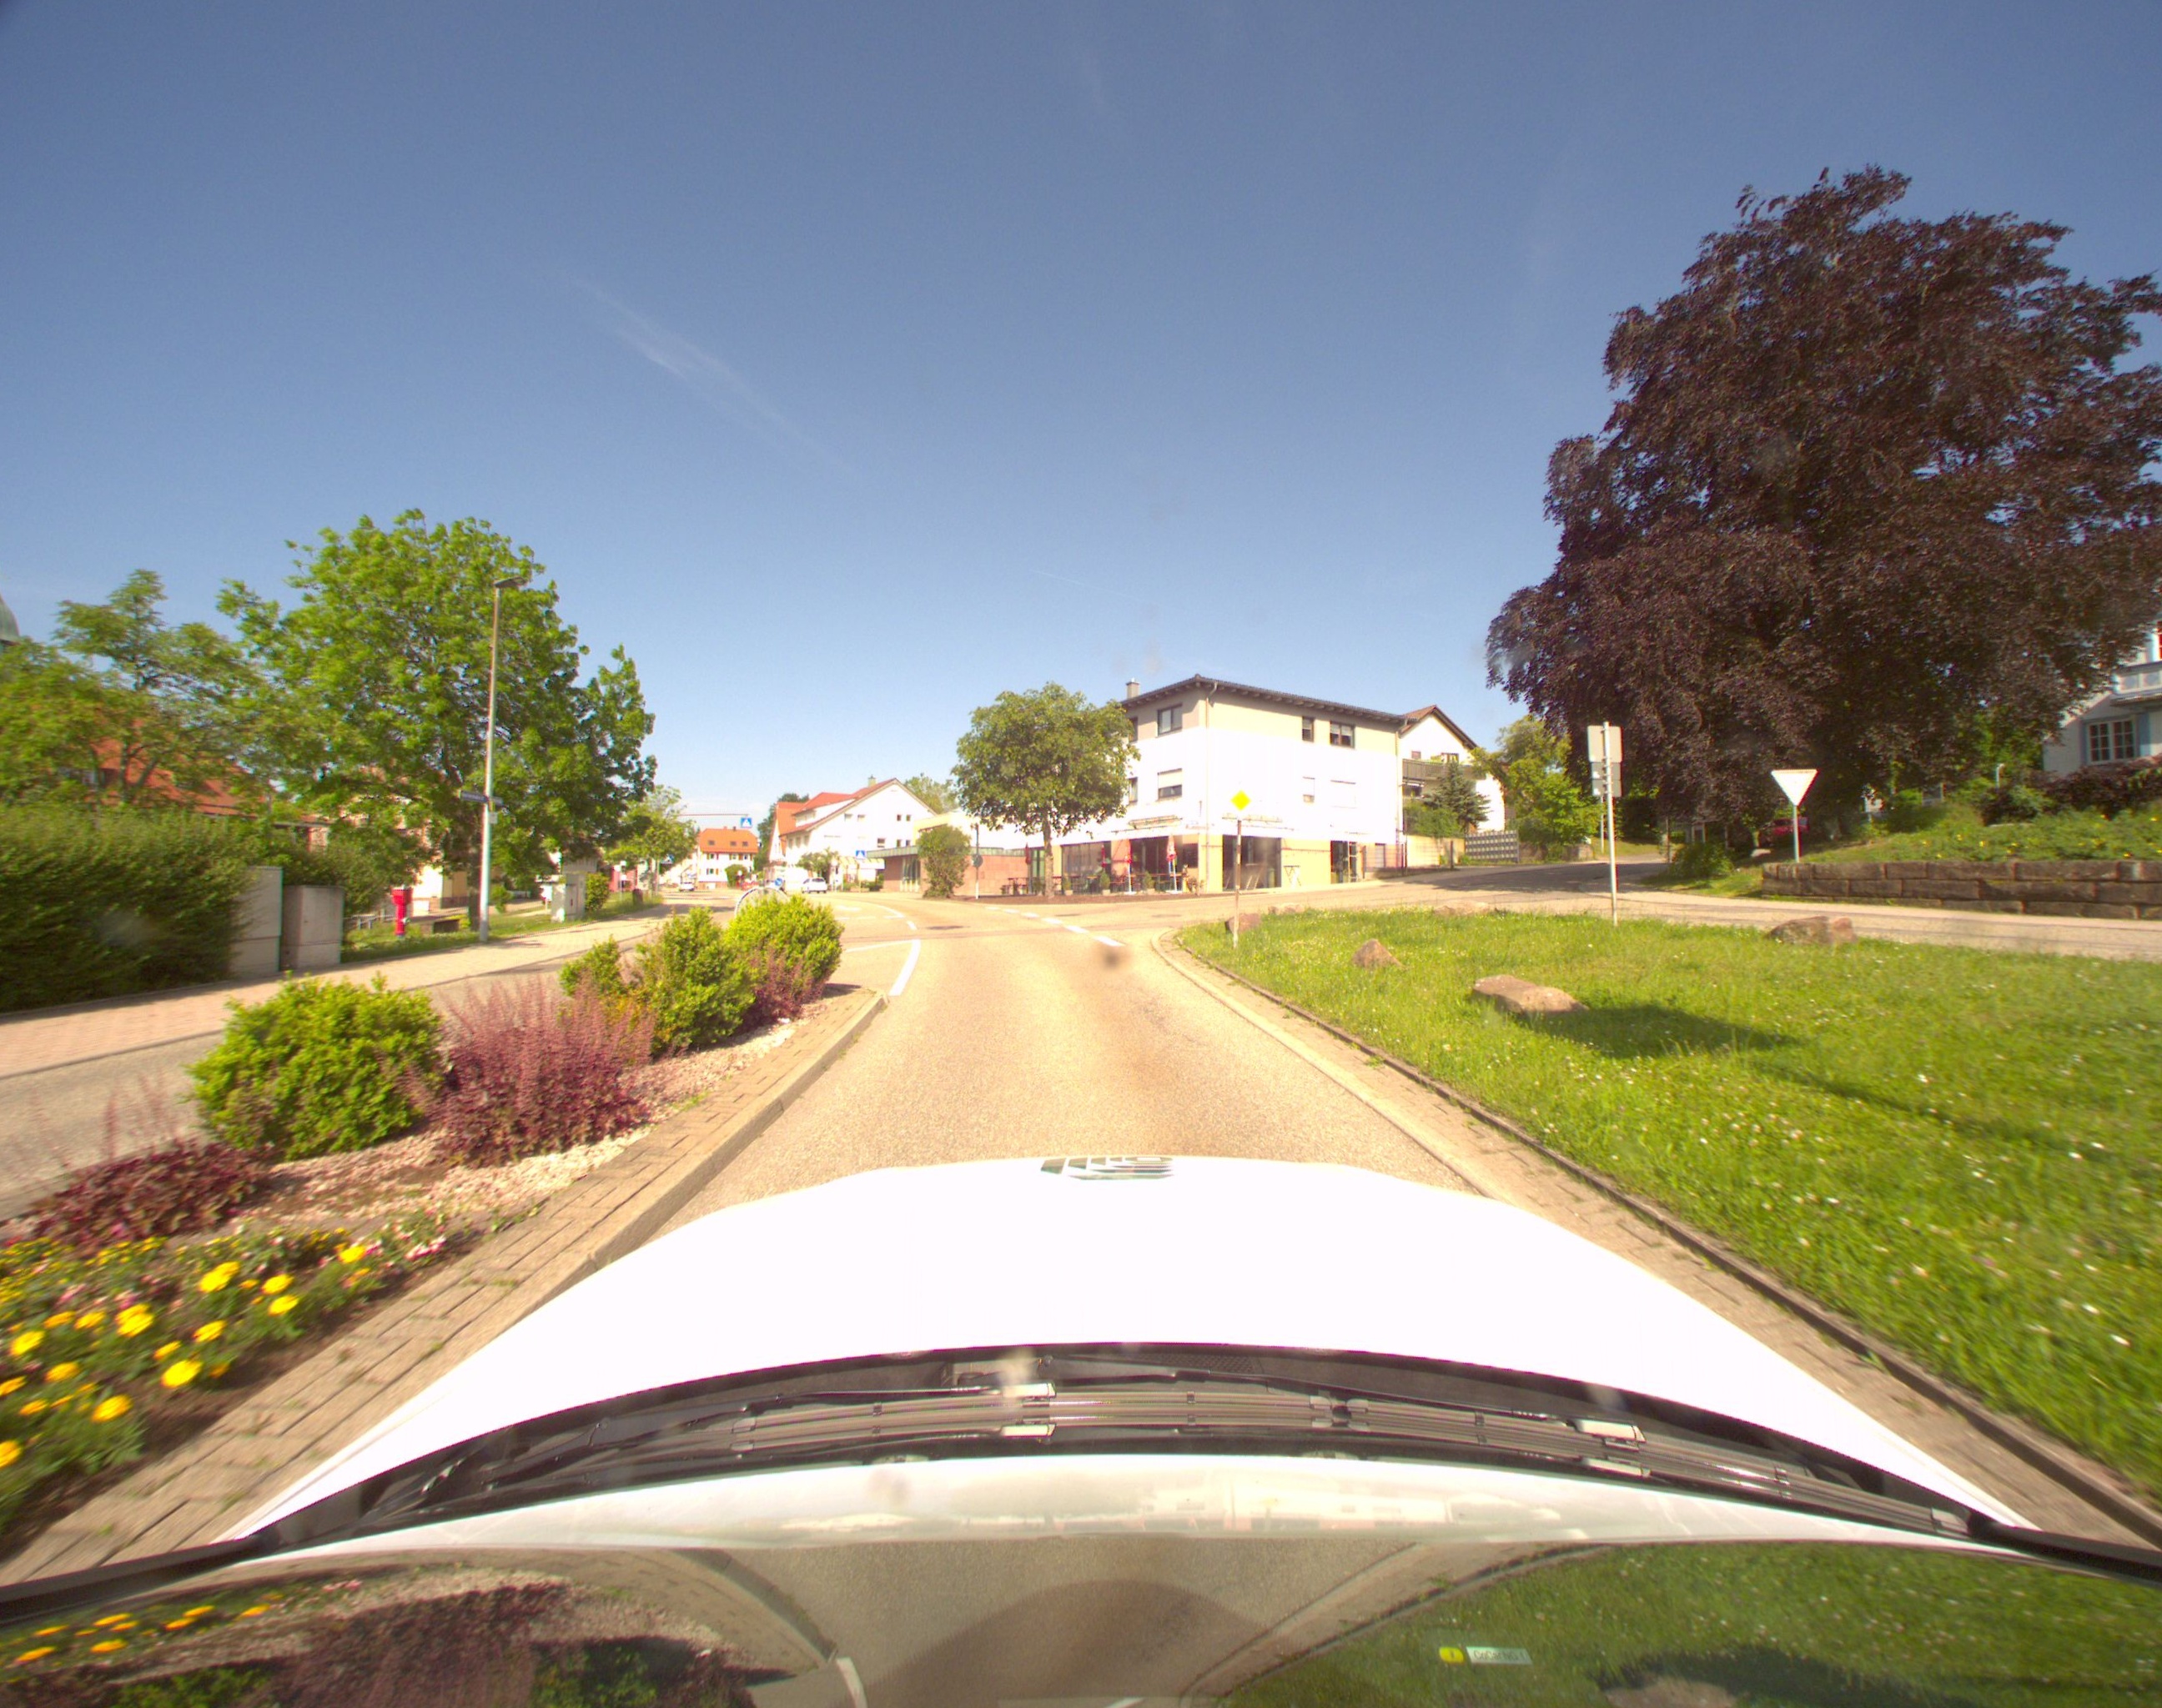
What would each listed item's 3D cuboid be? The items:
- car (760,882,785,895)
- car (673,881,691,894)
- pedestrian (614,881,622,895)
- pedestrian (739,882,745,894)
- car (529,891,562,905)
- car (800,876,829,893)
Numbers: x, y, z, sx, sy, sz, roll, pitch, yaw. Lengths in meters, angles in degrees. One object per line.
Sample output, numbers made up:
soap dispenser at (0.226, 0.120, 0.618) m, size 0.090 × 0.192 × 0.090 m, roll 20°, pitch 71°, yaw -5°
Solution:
car at (-34.086, 3.800, 89.963) m, size 1.647 × 1.420 × 3.892 m, roll -1°, pitch -2°, yaw -35°
car at (-67.906, 5.733, 138.629) m, size 2.511 × 2.014 × 4.262 m, roll -2°, pitch -2°, yaw -30°
pedestrian at (-44.371, 3.252, 78.075) m, size 0.633 × 1.253 × 0.419 m, roll -1°, pitch -2°, yaw -34°
pedestrian at (-53.762, 5.389, 129.311) m, size 0.804 × 1.784 × 0.971 m, roll 0°, pitch -2°, yaw -27°
car at (-55.137, 4.490, 83.916) m, size 1.725 × 1.297 × 3.976 m, roll -2°, pitch -1°, yaw -17°
car at (-24.399, 2.763, 74.481) m, size 1.771 × 1.423 × 3.599 m, roll -1°, pitch -1°, yaw -29°
